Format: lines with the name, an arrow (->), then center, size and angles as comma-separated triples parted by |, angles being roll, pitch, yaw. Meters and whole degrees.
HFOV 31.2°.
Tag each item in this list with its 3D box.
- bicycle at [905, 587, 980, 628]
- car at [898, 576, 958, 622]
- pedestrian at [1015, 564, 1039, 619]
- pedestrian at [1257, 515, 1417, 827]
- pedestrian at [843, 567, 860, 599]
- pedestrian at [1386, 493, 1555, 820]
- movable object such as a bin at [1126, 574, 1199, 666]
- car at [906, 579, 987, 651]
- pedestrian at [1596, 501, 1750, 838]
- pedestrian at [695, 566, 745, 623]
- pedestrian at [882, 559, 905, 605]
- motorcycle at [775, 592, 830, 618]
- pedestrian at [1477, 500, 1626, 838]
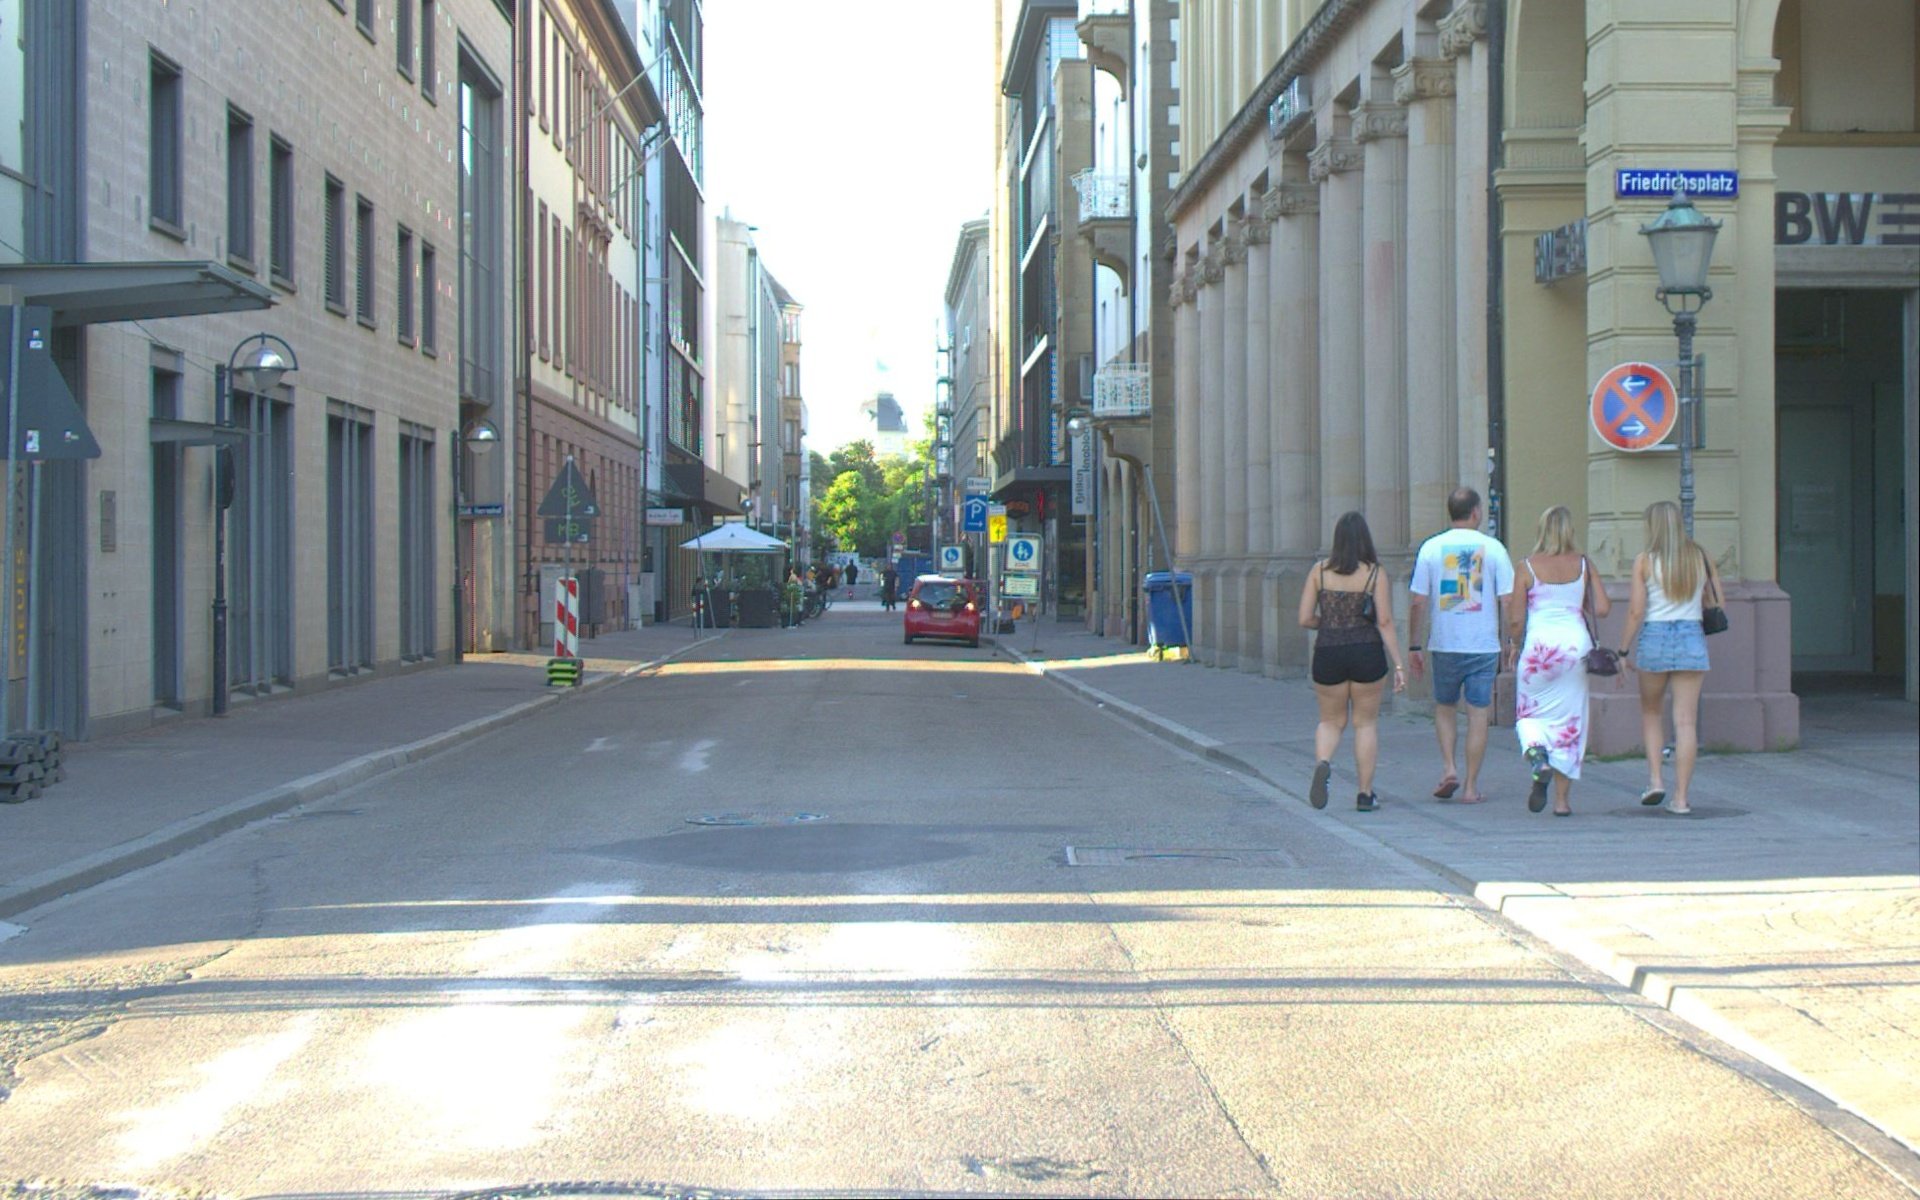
bicycle -> -0.482, 0.200, 96.195 | 2.052, 1.130, 0.649 | 0, 0, -4
car -> -1.153, -0.047, 123.490 | 1.993, 1.605, 4.000 | 0, 0, -3
pedestrian -> 1.819, -0.241, 93.396 | 0.656, 1.482, 0.493 | -1, 0, 1
pedestrian -> 2.150, 0.397, 19.706 | 0.775, 1.740, 0.875 | -1, 0, -2
pedestrian -> -5.519, -0.864, 174.906 | 0.804, 1.667, 0.888 | 0, 0, 1
pedestrian -> 2.987, 0.322, 20.183 | 0.812, 1.869, 0.875 | -1, 0, -2
movable object such as a bin -> 3.138, 0.305, 53.396 | 0.990, 1.387, 1.241 | -1, 0, -2
car -> -0.313, 0.308, 74.243 | 1.649, 1.422, 3.535 | 3, 0, -1
pedestrian -> 3.881, 0.368, 18.758 | 0.636, 1.797, 0.772 | -1, 0, -2
pedestrian -> -6.275, -0.139, 89.866 | 1.290, 1.482, 0.661 | 0, 0, -3
pedestrian -> -2.514, -0.676, 130.044 | 0.865, 1.707, 0.852 | 0, 0, -1
motorcycle -> -5.243, 0.164, 114.135 | 1.801, 0.872, 0.560 | 0, 0, -5
pedestrian -> 3.214, 0.366, 18.730 | 0.636, 1.797, 0.772 | -1, 0, -2
